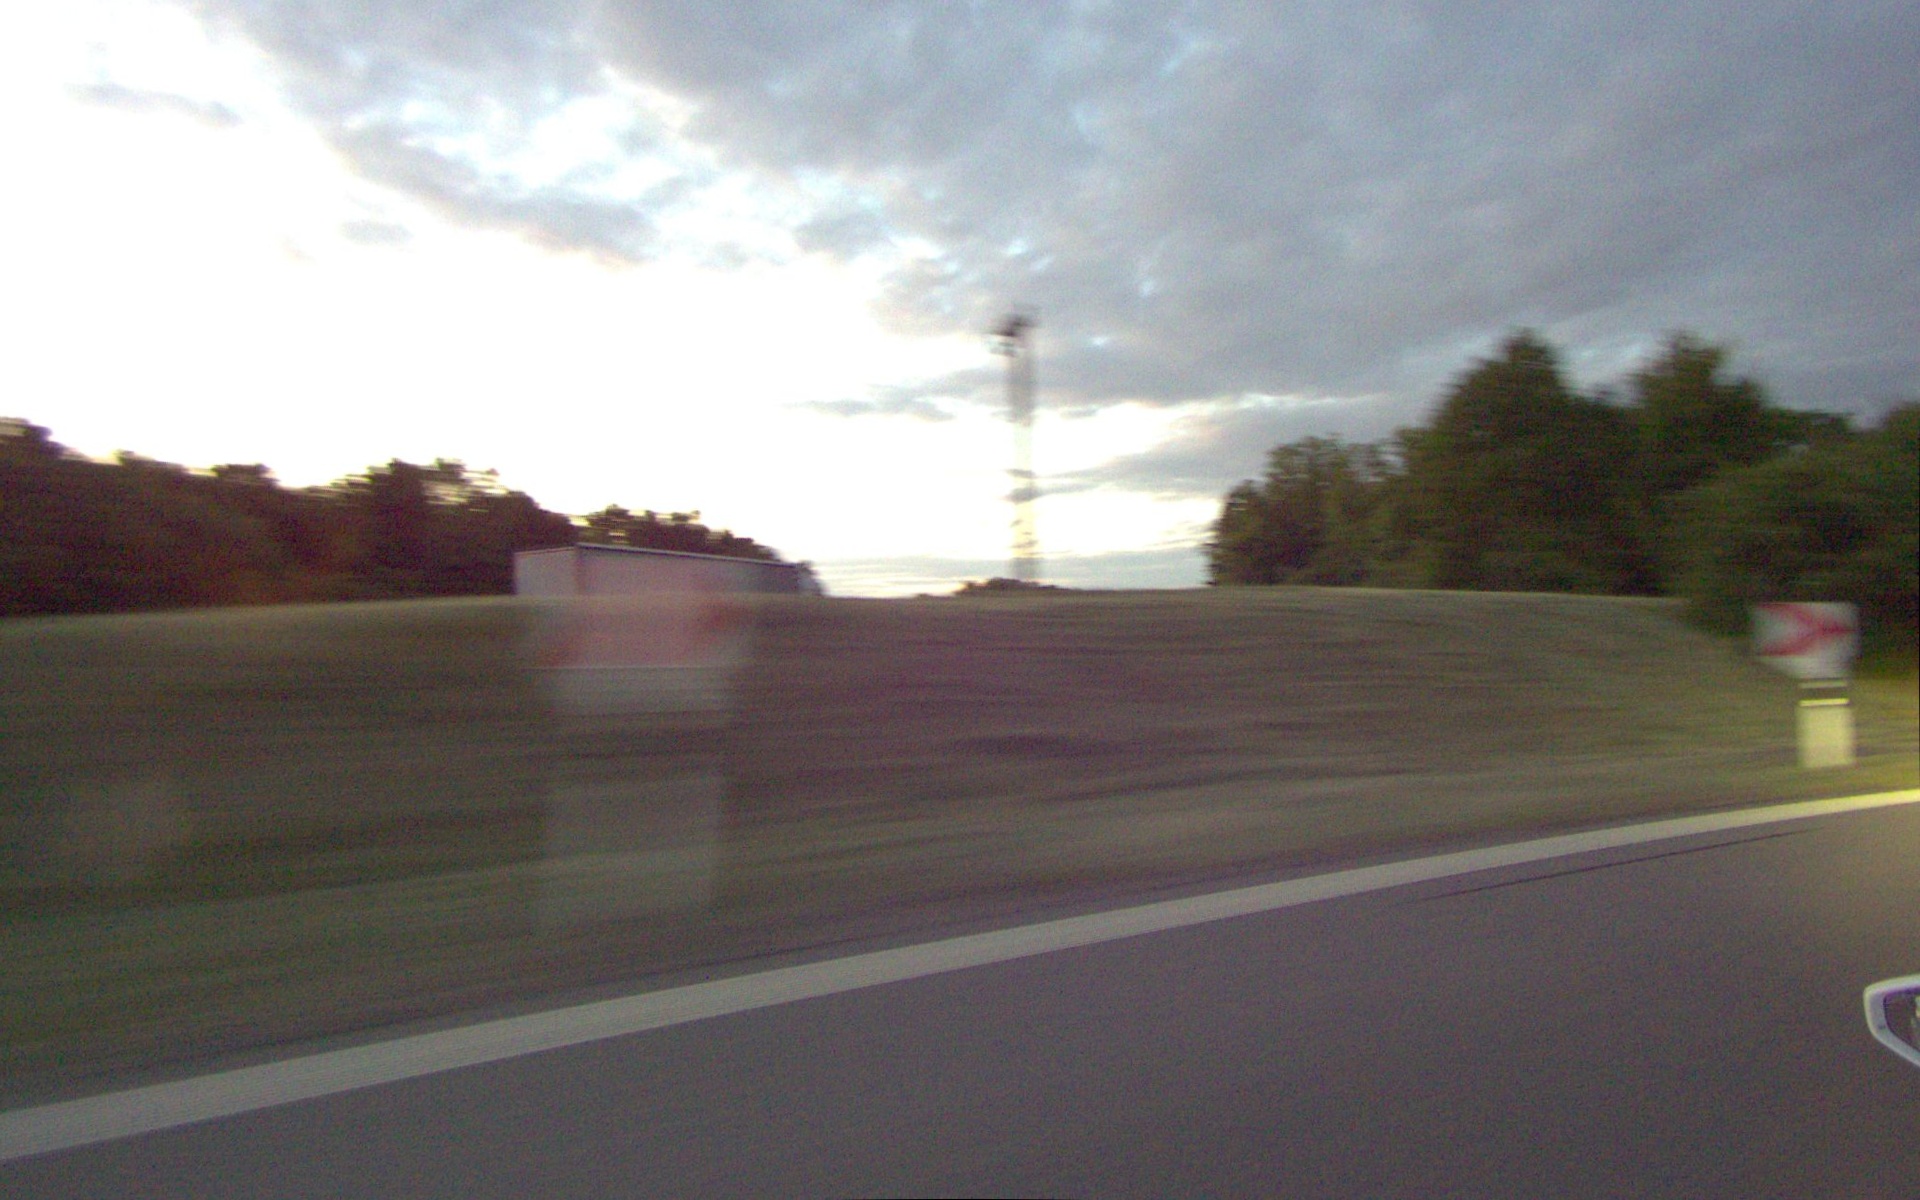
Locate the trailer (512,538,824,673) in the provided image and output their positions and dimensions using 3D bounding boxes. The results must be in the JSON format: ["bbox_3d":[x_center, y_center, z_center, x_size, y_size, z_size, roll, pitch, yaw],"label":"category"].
[{"bbox_3d":[-10.005,0.352,37.861,2.730,3.965,14.817,-5,-3,21],"label":"trailer"}]

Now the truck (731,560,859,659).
[{"bbox_3d":[-7.252,0.497,45.086,2.735,3.952,6.154,-5,-3,21],"label":"truck"}]
